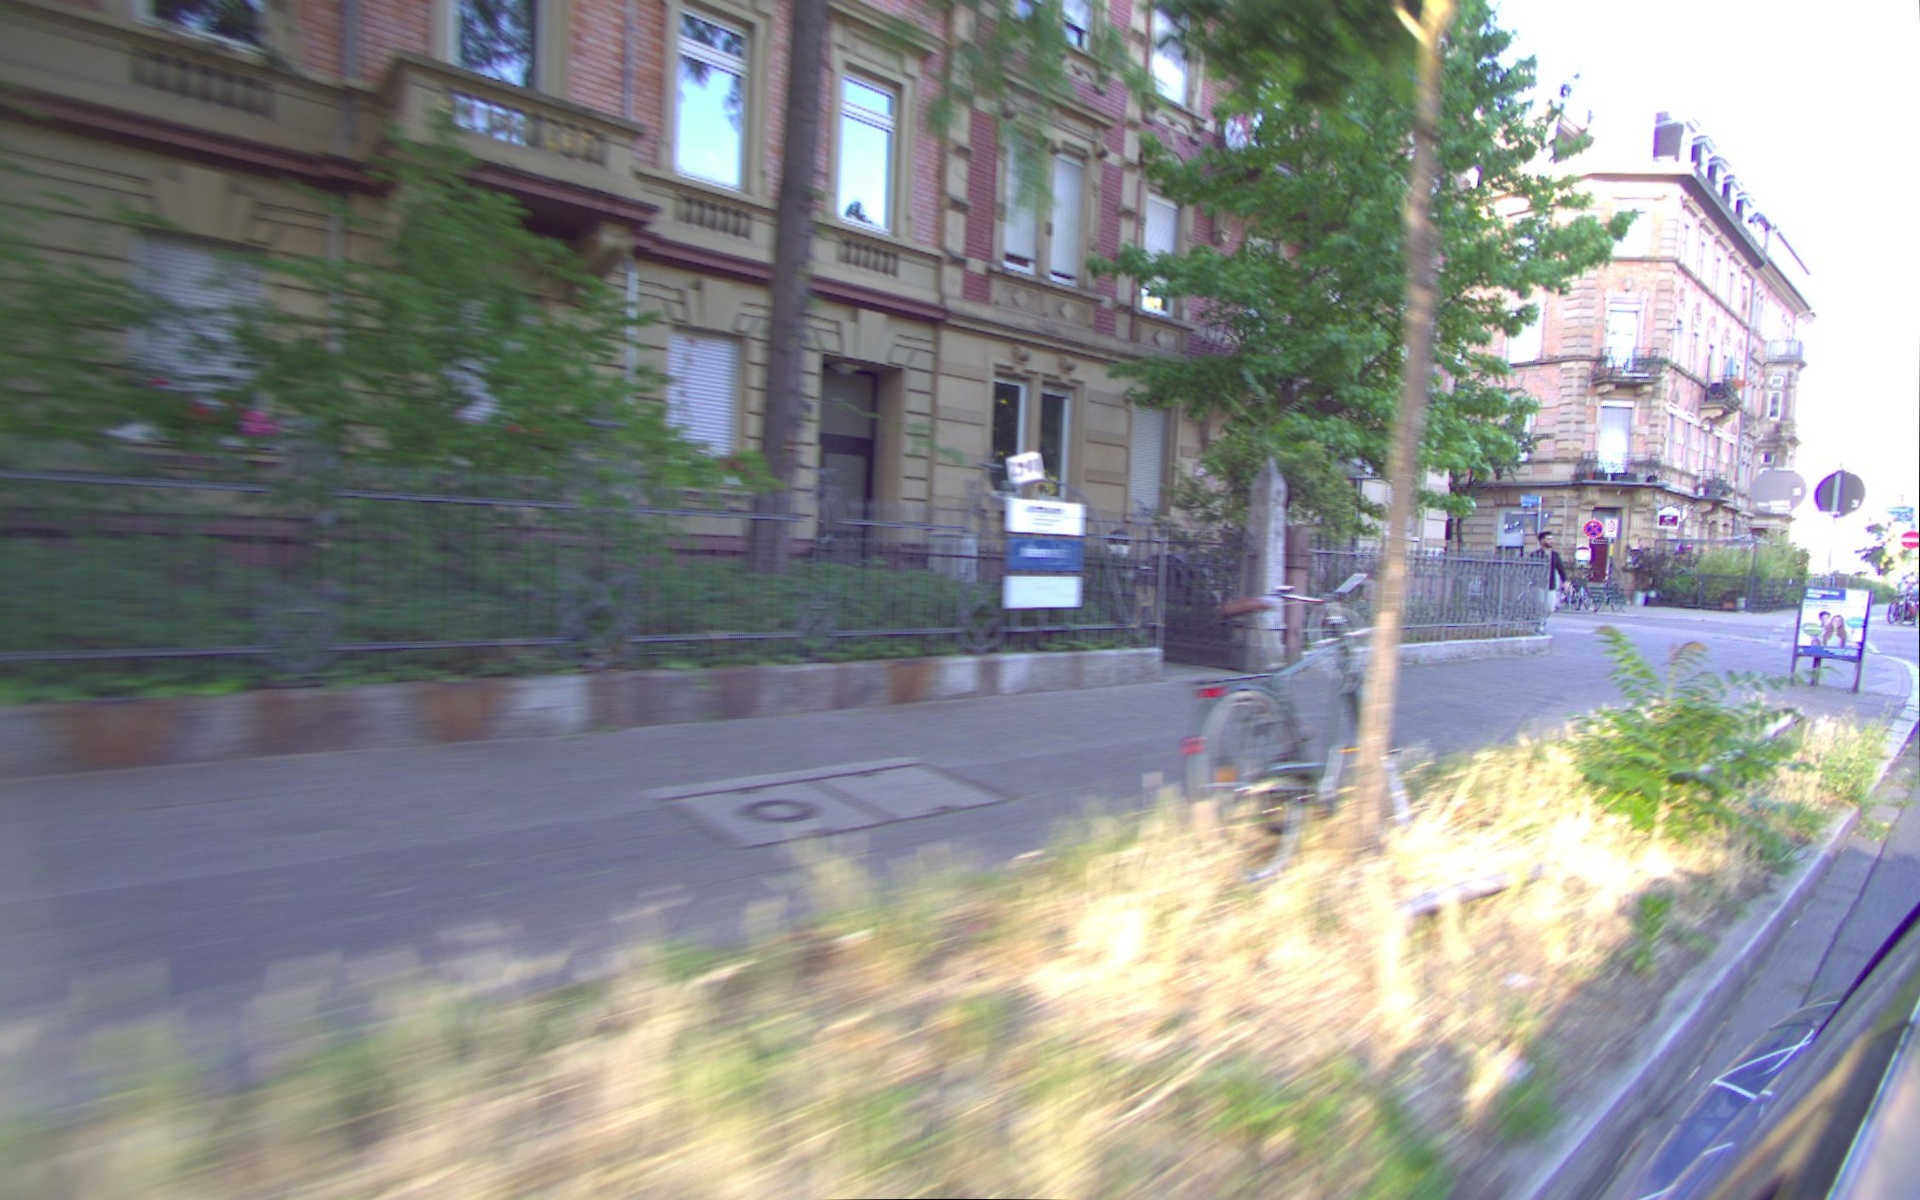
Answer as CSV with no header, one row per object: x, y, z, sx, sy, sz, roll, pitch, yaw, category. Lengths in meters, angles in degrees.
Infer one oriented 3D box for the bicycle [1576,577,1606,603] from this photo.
21.408,-0.353,34.345,1.469,0.827,0.295,-3,4,-34,bicycle

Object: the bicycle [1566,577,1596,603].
21.225,-0.358,34.605,1.469,0.827,0.295,-3,4,-34,bicycle

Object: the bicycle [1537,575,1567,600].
20.586,-0.442,35.163,1.469,0.827,0.295,-3,4,-34,bicycle

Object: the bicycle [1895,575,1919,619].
31.037,-0.124,32.957,2.228,1.289,0.566,-3,9,-44,bicycle

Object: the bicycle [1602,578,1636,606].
21.726,-0.276,33.353,1.702,0.827,0.295,-3,4,-34,bicycle

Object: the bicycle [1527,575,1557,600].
20.389,-0.454,35.420,1.469,0.827,0.295,-3,4,-34,bicycle

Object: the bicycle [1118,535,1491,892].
1.512,0.353,4.228,1.898,1.181,0.647,-1,2,-43,bicycle

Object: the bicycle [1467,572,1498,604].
15.151,-0.341,29.325,1.472,0.827,0.291,3,-1,-43,bicycle

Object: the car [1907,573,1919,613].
38.363,-0.212,39.447,3.486,1.481,1.730,-1,7,-42,car

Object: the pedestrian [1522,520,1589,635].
9.869,-0.398,16.796,0.741,1.799,0.824,7,6,28,pedestrian
